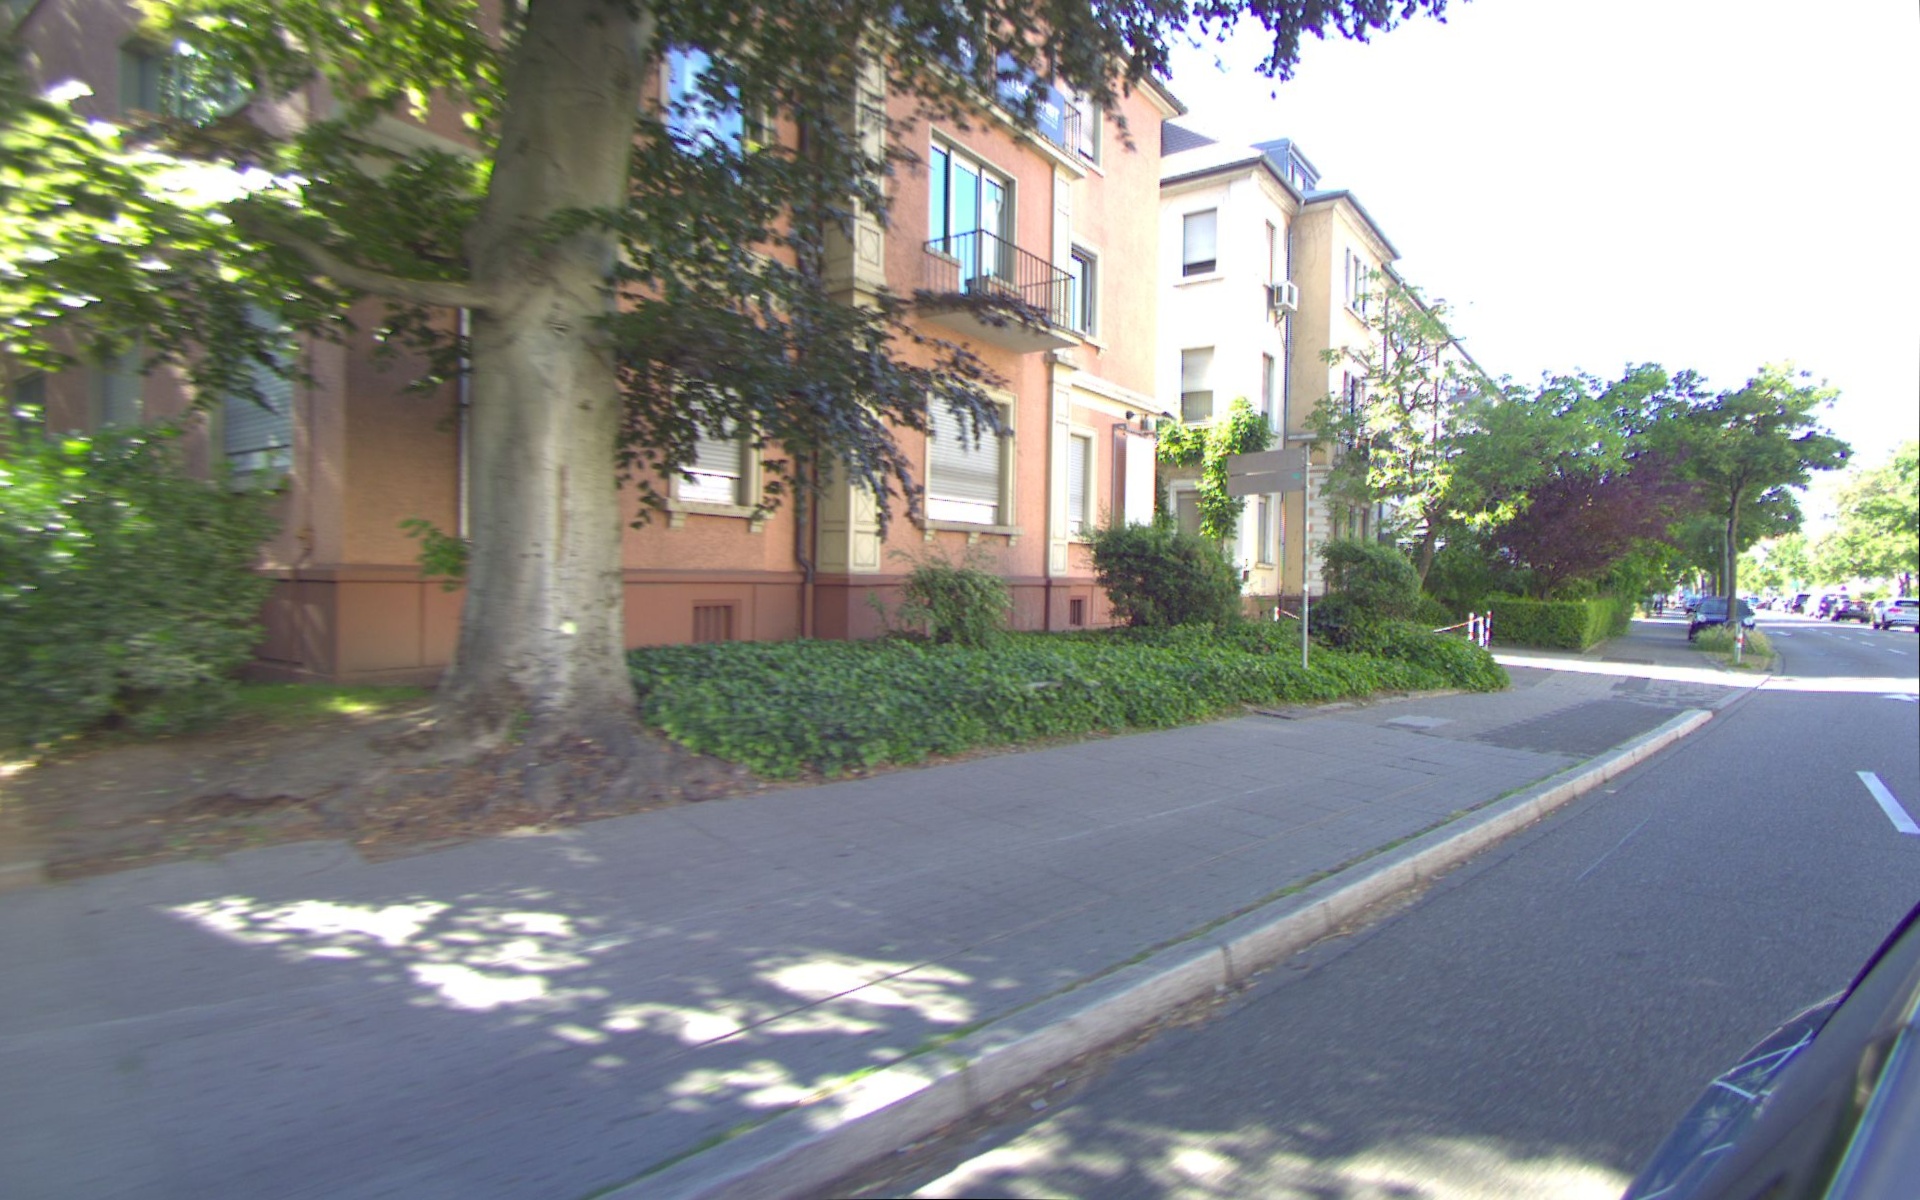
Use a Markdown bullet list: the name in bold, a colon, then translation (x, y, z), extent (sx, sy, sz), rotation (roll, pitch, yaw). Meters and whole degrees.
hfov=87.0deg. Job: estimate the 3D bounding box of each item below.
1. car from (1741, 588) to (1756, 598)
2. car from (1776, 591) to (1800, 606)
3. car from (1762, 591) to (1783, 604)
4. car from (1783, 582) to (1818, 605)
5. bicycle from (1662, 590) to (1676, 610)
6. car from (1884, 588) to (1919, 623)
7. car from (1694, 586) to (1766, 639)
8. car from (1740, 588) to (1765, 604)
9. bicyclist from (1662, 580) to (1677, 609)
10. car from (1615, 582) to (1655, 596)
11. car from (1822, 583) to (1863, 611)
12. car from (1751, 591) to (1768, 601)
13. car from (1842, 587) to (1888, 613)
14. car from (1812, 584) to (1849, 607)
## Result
- **car**: translation (129.609, -1.166, 166.377), extent (1.575, 1.469, 3.700), rotation (2, 2, 34)
- **car**: translation (91.051, -0.170, 111.266), extent (1.729, 1.429, 4.138), rotation (4, 3, 36)
- **car**: translation (101.570, -0.340, 126.538), extent (1.575, 1.469, 3.700), rotation (2, 2, 33)
- **car**: translation (78.971, -0.649, 95.162), extent (2.011, 1.976, 5.113), rotation (4, 3, 35)
- **bicycle**: translation (45.357, -0.020, 64.735), extent (0.696, 1.262, 1.798), rotation (3, 2, 36)
- **car**: translation (47.501, 0.271, 50.202), extent (1.801, 1.668, 4.614), rotation (4, 3, 35)
- **car**: translation (24.881, 0.361, 32.799), extent (1.554, 1.533, 3.610), rotation (4, 3, 34)
- **car**: translation (71.113, -0.369, 90.821), extent (1.646, 1.372, 4.247), rotation (2, 2, 36)
- **bicyclist**: translation (45.386, -0.332, 64.721), extent (0.722, 1.815, 1.002), rotation (3, 2, 36)
- **car**: translation (82.911, -1.358, 124.306), extent (3.979, 1.458, 1.807), rotation (6, 4, 37)
- **car**: translation (66.825, -0.232, 76.686), extent (1.799, 1.934, 4.651), rotation (5, 3, 36)
- **car**: translation (120.540, -0.657, 152.596), extent (1.575, 1.469, 3.700), rotation (2, 2, 34)
- **car**: translation (60.788, -0.024, 68.016), extent (1.715, 1.585, 4.287), rotation (5, 3, 35)
- **car**: translation (72.210, -0.414, 83.959), extent (1.811, 1.764, 4.436), rotation (4, 3, 35)
